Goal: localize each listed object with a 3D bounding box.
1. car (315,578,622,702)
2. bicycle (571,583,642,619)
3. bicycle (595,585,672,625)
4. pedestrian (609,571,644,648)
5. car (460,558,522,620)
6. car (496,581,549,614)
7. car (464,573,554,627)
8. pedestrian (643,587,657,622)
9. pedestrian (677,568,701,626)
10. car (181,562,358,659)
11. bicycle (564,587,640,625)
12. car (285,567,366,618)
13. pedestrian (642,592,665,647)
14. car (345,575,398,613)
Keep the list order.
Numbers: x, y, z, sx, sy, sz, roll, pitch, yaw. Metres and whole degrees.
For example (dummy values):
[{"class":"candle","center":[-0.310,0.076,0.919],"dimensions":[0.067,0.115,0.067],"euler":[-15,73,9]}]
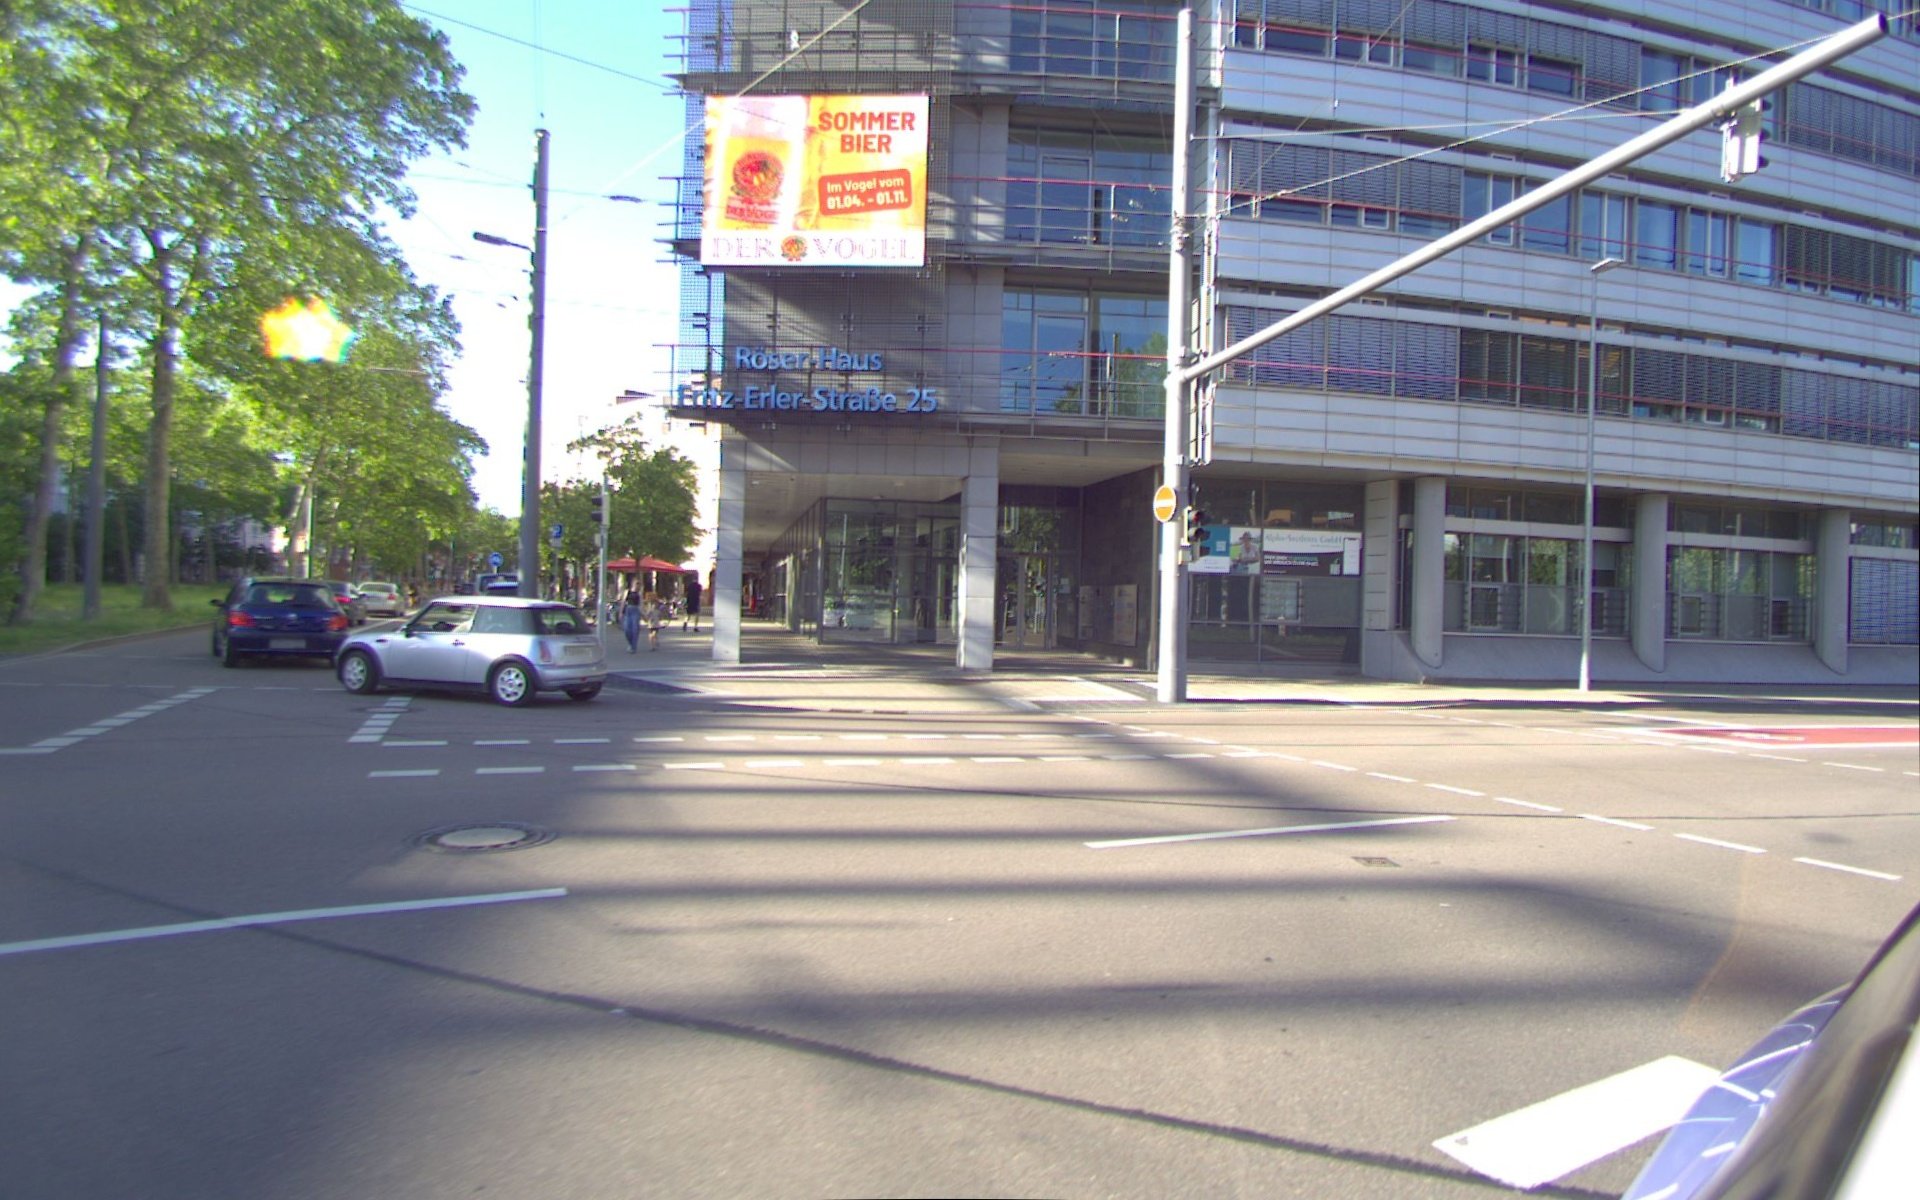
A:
[{"class":"car","center":[-6.695,0.520,13.920],"dimensions":[3.484,1.406,1.659],"euler":[3,-1,13]},{"class":"bicycle","center":[-13.368,0.052,38.289],"dimensions":[2.348,1.229,0.775],"euler":[3,-2,-34]},{"class":"bicycle","center":[-11.035,0.180,34.283],"dimensions":[2.344,1.229,0.776],"euler":[3,-2,-13]},{"class":"pedestrian","center":[-7.445,0.206,22.589],"dimensions":[0.647,1.661,0.795],"euler":[3,-2,-19]},{"class":"car","center":[-16.941,-0.364,36.429],"dimensions":[1.829,2.042,4.464],"euler":[2,-1,-27]},{"class":"car","center":[-21.419,-0.108,49.460],"dimensions":[1.830,1.493,3.980],"euler":[2,-1,-31]},{"class":"car","center":[-13.763,0.011,31.090],"dimensions":[1.828,1.493,3.985],"euler":[2,-1,-14]},{"class":"pedestrian","center":[-16.151,0.232,52.706],"dimensions":[0.623,1.756,0.794],"euler":[1,-2,-13]},{"class":"pedestrian","center":[-8.410,-0.070,31.383],"dimensions":[0.575,1.756,0.794],"euler":[1,-2,-8]},{"class":"car","center":[-12.056,0.153,17.575],"dimensions":[1.836,1.493,3.967],"euler":[2,-1,-44]},{"class":"bicycle","center":[-12.479,0.219,35.335],"dimensions":[2.348,1.229,0.775],"euler":[3,-2,-34]},{"class":"car","center":[-19.697,-0.195,31.549],"dimensions":[1.665,1.459,4.025],"euler":[2,-1,-26]},{"class":"pedestrian","center":[-7.033,0.450,23.189],"dimensions":[0.433,1.226,0.463],"euler":[3,-2,-19]},{"class":"car","center":[-24.957,-0.253,43.019],"dimensions":[1.665,1.493,3.988],"euler":[2,-1,-27]}]
